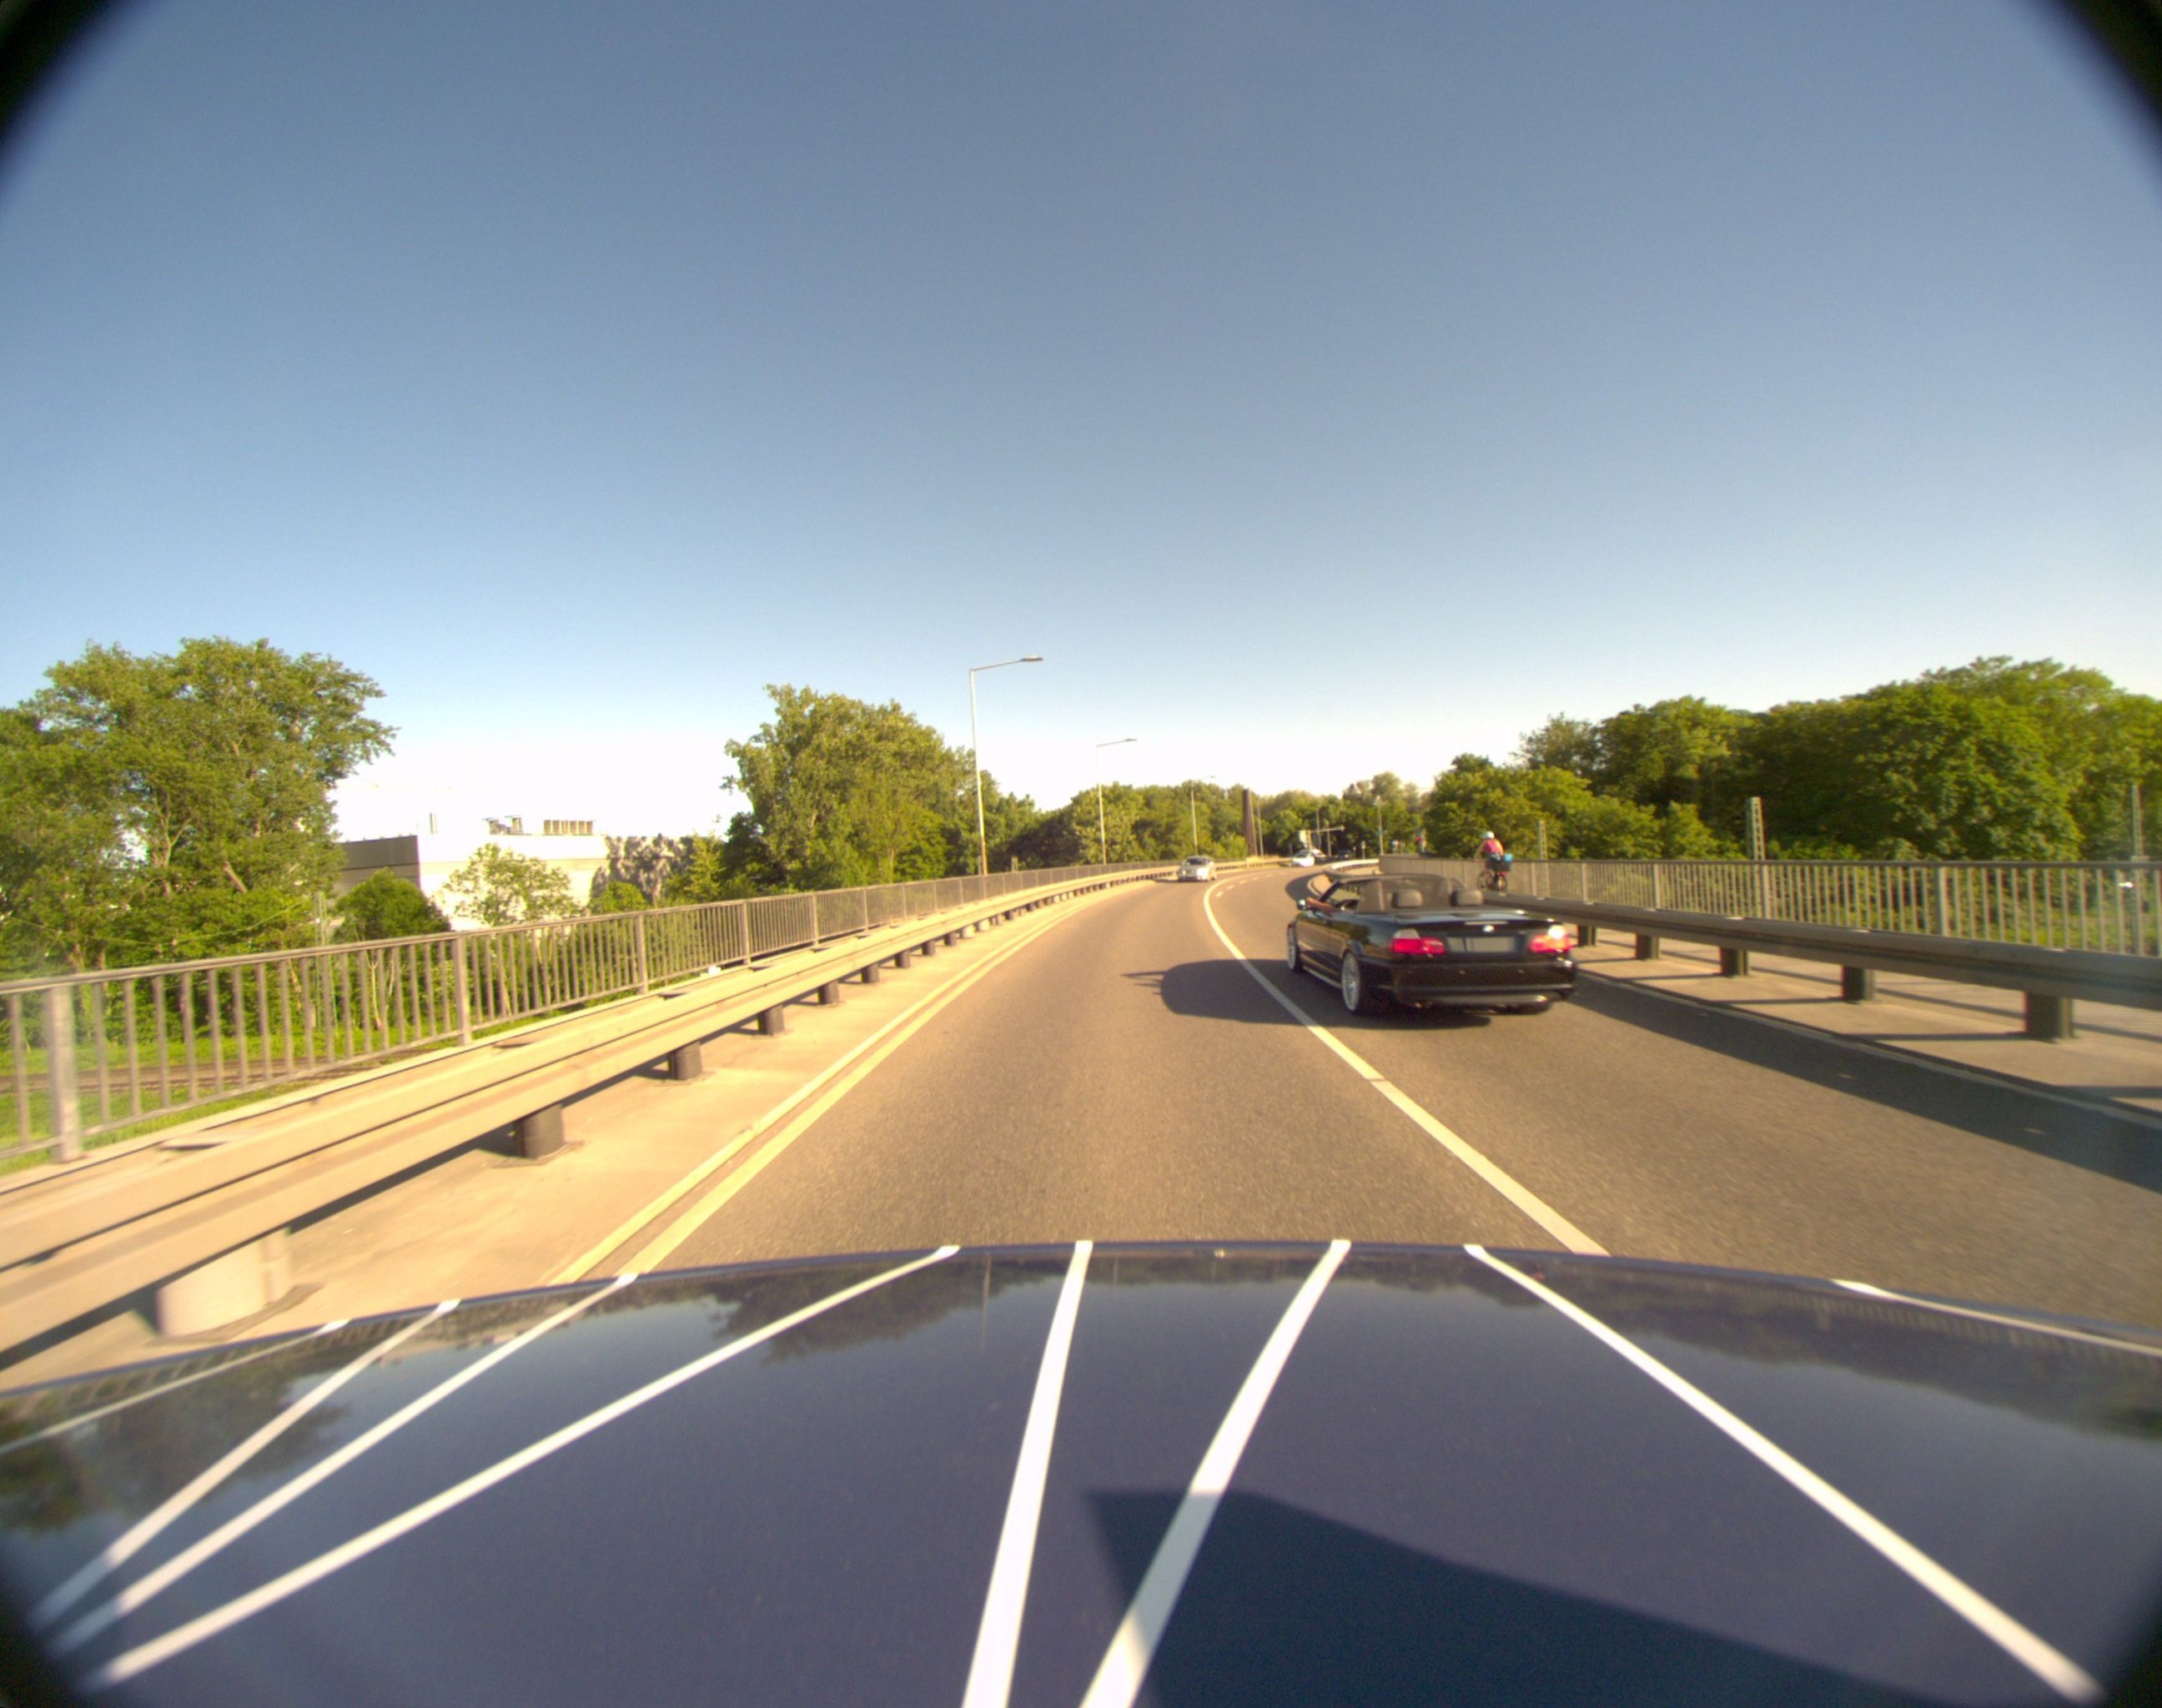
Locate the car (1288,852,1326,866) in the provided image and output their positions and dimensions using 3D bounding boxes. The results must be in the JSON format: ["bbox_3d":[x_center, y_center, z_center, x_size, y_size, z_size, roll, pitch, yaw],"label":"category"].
[{"bbox_3d":[24.589,0.536,82.716,4.138,1.465,1.989,-2,0,-40],"label":"car"}]

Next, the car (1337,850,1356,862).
[{"bbox_3d":[38.645,0.337,110.463,1.918,1.608,3.749,-1,0,30],"label":"car"}]

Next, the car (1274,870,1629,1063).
[{"bbox_3d":[3.369,0.911,7.916,1.749,1.347,4.182,-2,0,2],"label":"car"}]

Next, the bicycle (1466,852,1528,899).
[{"bbox_3d":[9.943,0.493,18.233,0.655,1.058,1.891,-1,0,8],"label":"bicycle"}]

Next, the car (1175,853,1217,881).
[{"bbox_3d":[6.722,0.721,43.995,1.762,1.428,4.335,-1,0,17],"label":"car"}]

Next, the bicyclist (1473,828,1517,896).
[{"bbox_3d":[9.940,0.184,18.265,0.655,1.580,0.768,-1,1,8],"label":"bicyclist"}]

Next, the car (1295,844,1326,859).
[{"bbox_3d":[42.701,-0.416,141.516,2.118,2.484,5.695,-2,-2,-28],"label":"car"}]
